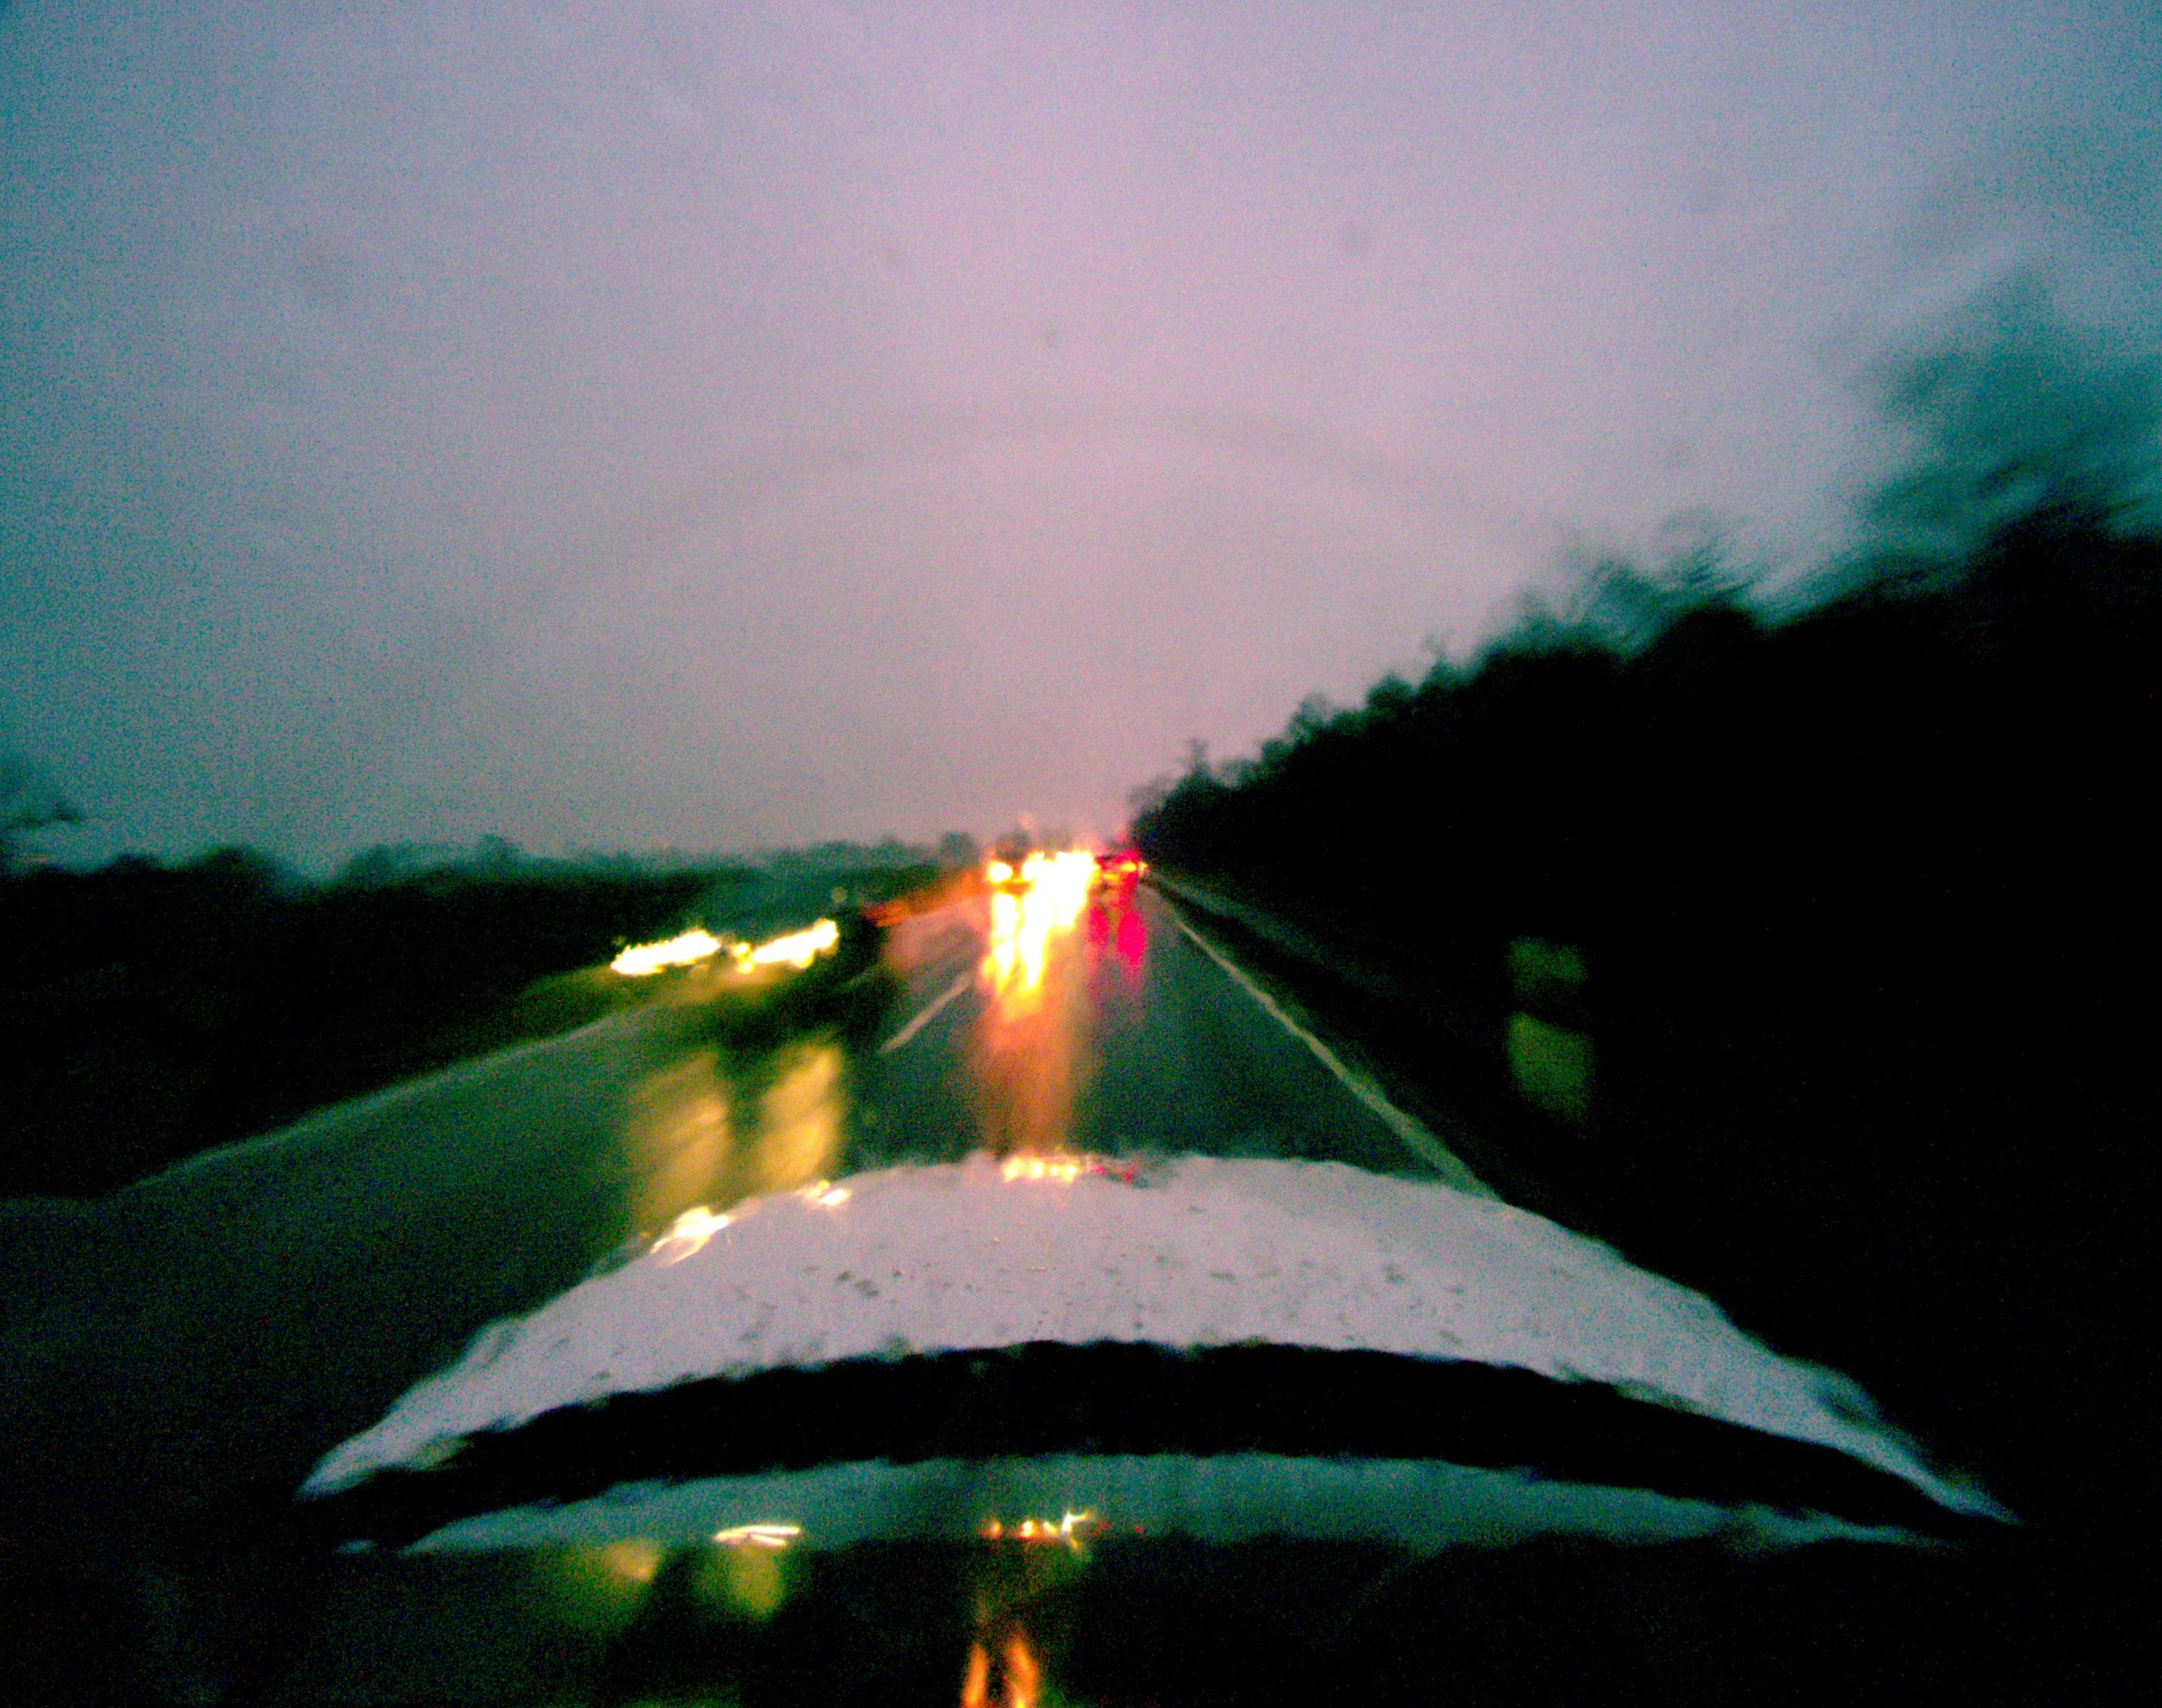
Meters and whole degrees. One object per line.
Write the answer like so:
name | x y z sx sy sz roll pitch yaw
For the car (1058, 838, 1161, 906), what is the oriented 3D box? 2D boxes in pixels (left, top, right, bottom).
car | 1.000 0.548 28.866 3.153 2.035 6.854 -2 0 1

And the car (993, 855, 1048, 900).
car | -2.773 1.042 38.675 1.986 1.870 4.954 -3 0 2

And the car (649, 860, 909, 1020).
car | -3.336 0.854 9.742 1.620 1.472 3.513 -4 -1 2

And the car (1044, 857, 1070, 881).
car | -1.851 1.170 64.534 1.722 1.646 4.263 -4 0 2
